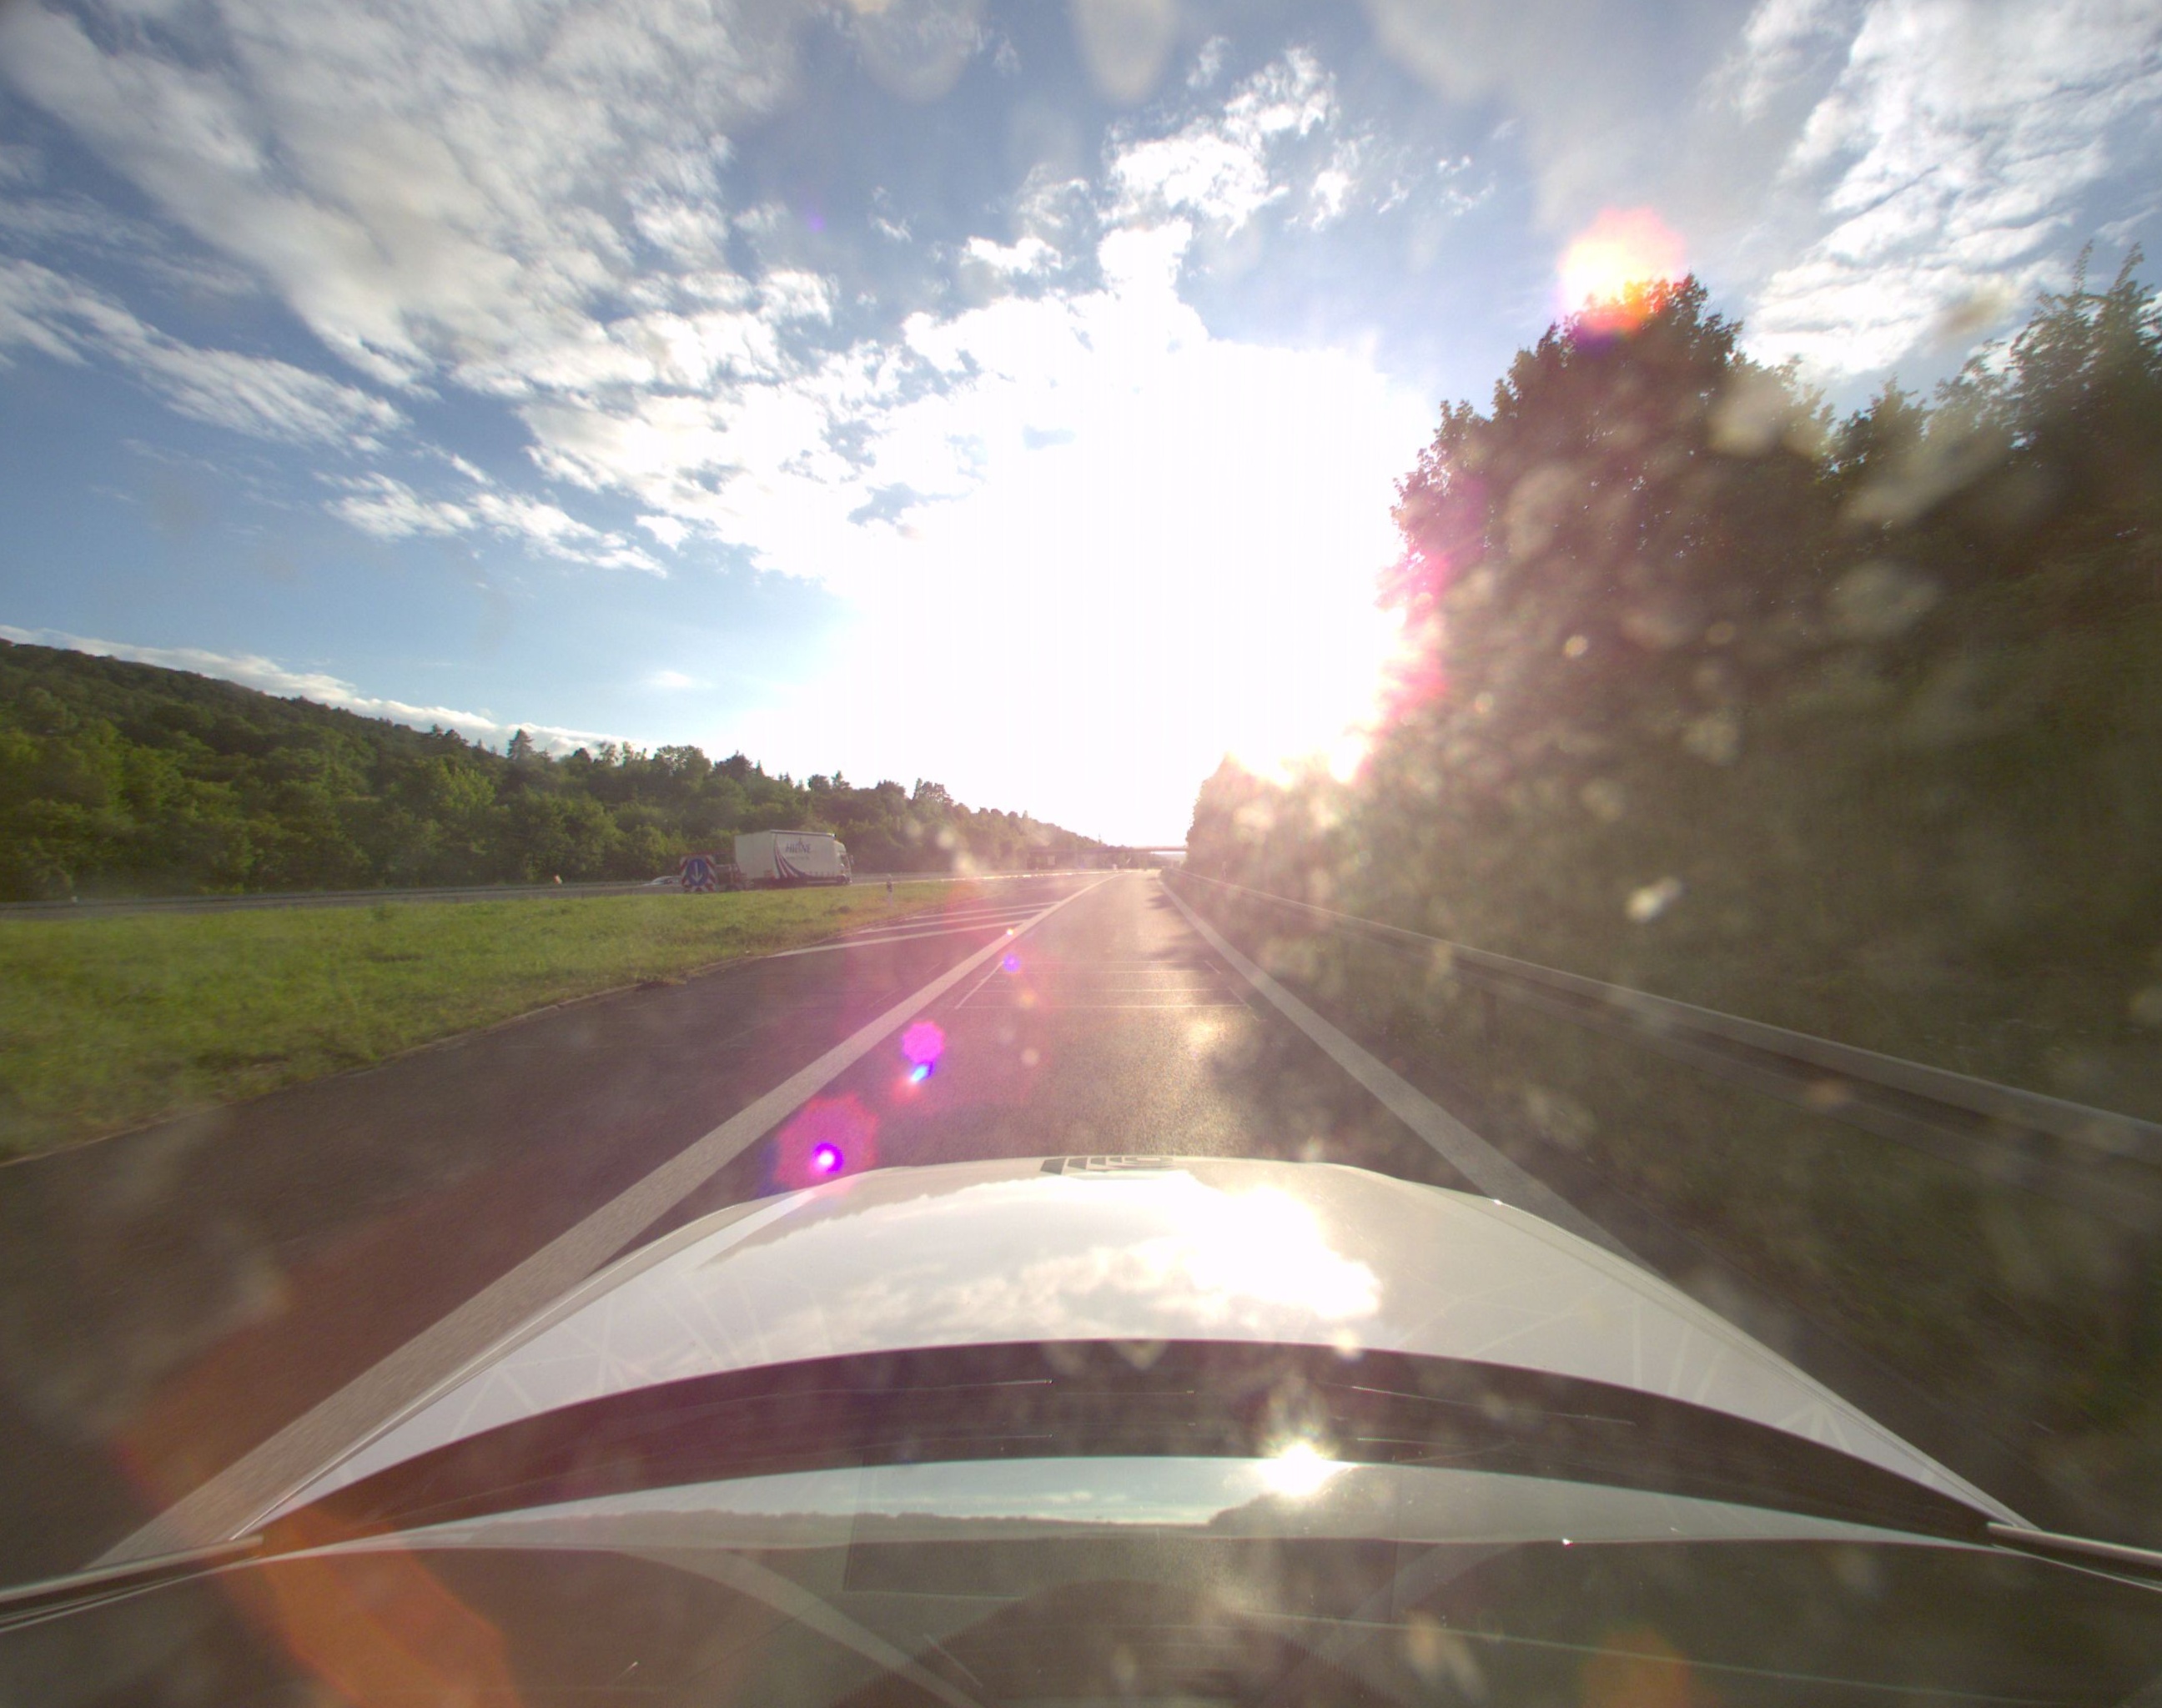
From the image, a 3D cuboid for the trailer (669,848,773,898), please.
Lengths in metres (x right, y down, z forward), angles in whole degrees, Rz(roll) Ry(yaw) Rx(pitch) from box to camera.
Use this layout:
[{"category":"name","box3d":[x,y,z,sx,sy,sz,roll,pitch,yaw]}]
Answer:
[{"category":"trailer","box3d":[-20.043,1.022,45.681,2.899,2.578,4.834,-2,-1,14]}]

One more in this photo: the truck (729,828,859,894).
[{"category":"truck","box3d":[-18.235,0.468,52.708,2.899,3.789,9.702,-2,-1,14]}]
